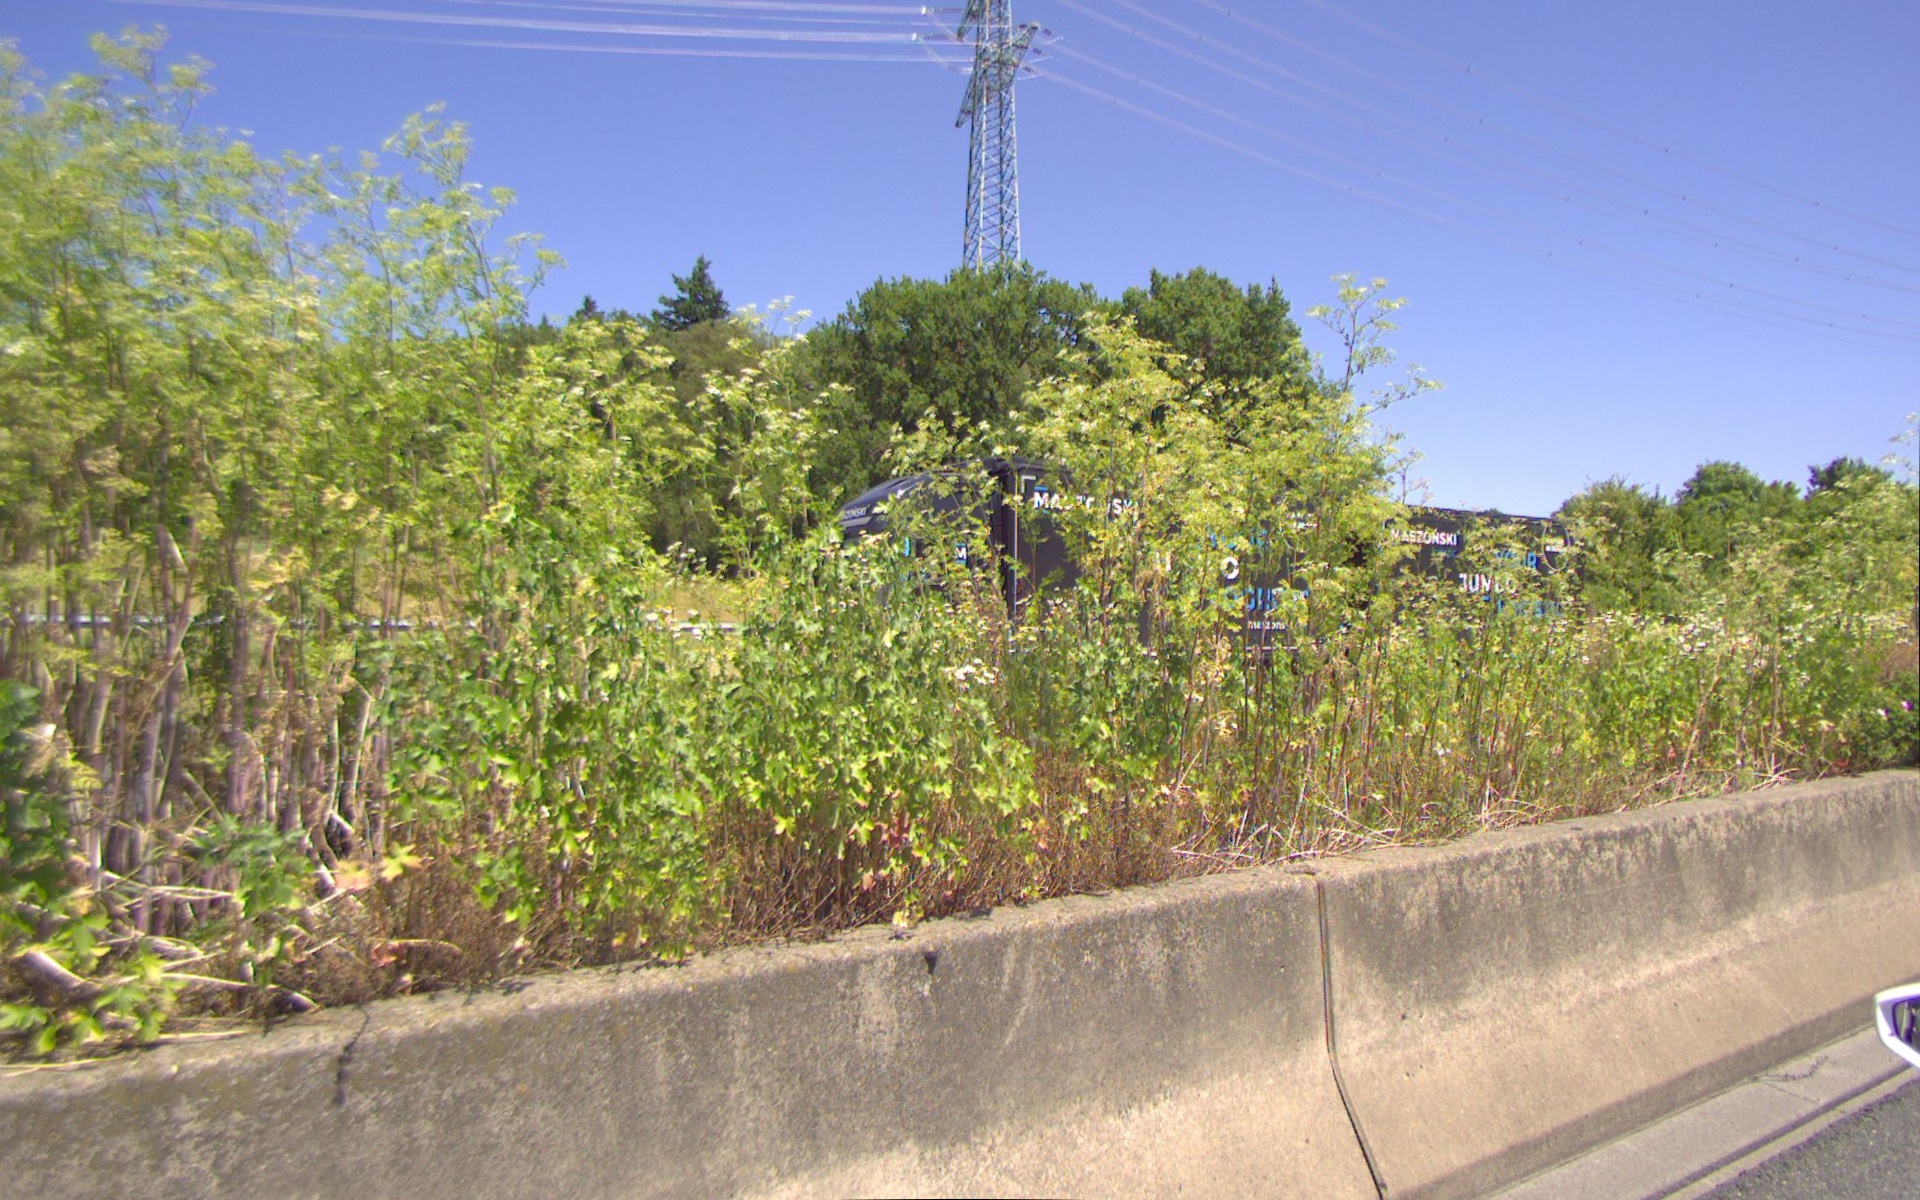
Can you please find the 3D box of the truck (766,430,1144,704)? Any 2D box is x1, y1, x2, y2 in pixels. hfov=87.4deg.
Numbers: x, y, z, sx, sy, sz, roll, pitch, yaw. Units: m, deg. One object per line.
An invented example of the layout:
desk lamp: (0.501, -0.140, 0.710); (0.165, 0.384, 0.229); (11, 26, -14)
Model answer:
truck: (-0.075, -0.376, 16.486); (5.399, 3.759, 3.057); (1, -1, -30)

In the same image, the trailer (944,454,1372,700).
trailer: (3.854, -0.259, 18.863); (7.777, 3.809, 3.110); (2, -1, -30)

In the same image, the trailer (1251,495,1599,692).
trailer: (10.720, -0.011, 22.899); (8.104, 3.811, 3.168); (1, -1, -30)
